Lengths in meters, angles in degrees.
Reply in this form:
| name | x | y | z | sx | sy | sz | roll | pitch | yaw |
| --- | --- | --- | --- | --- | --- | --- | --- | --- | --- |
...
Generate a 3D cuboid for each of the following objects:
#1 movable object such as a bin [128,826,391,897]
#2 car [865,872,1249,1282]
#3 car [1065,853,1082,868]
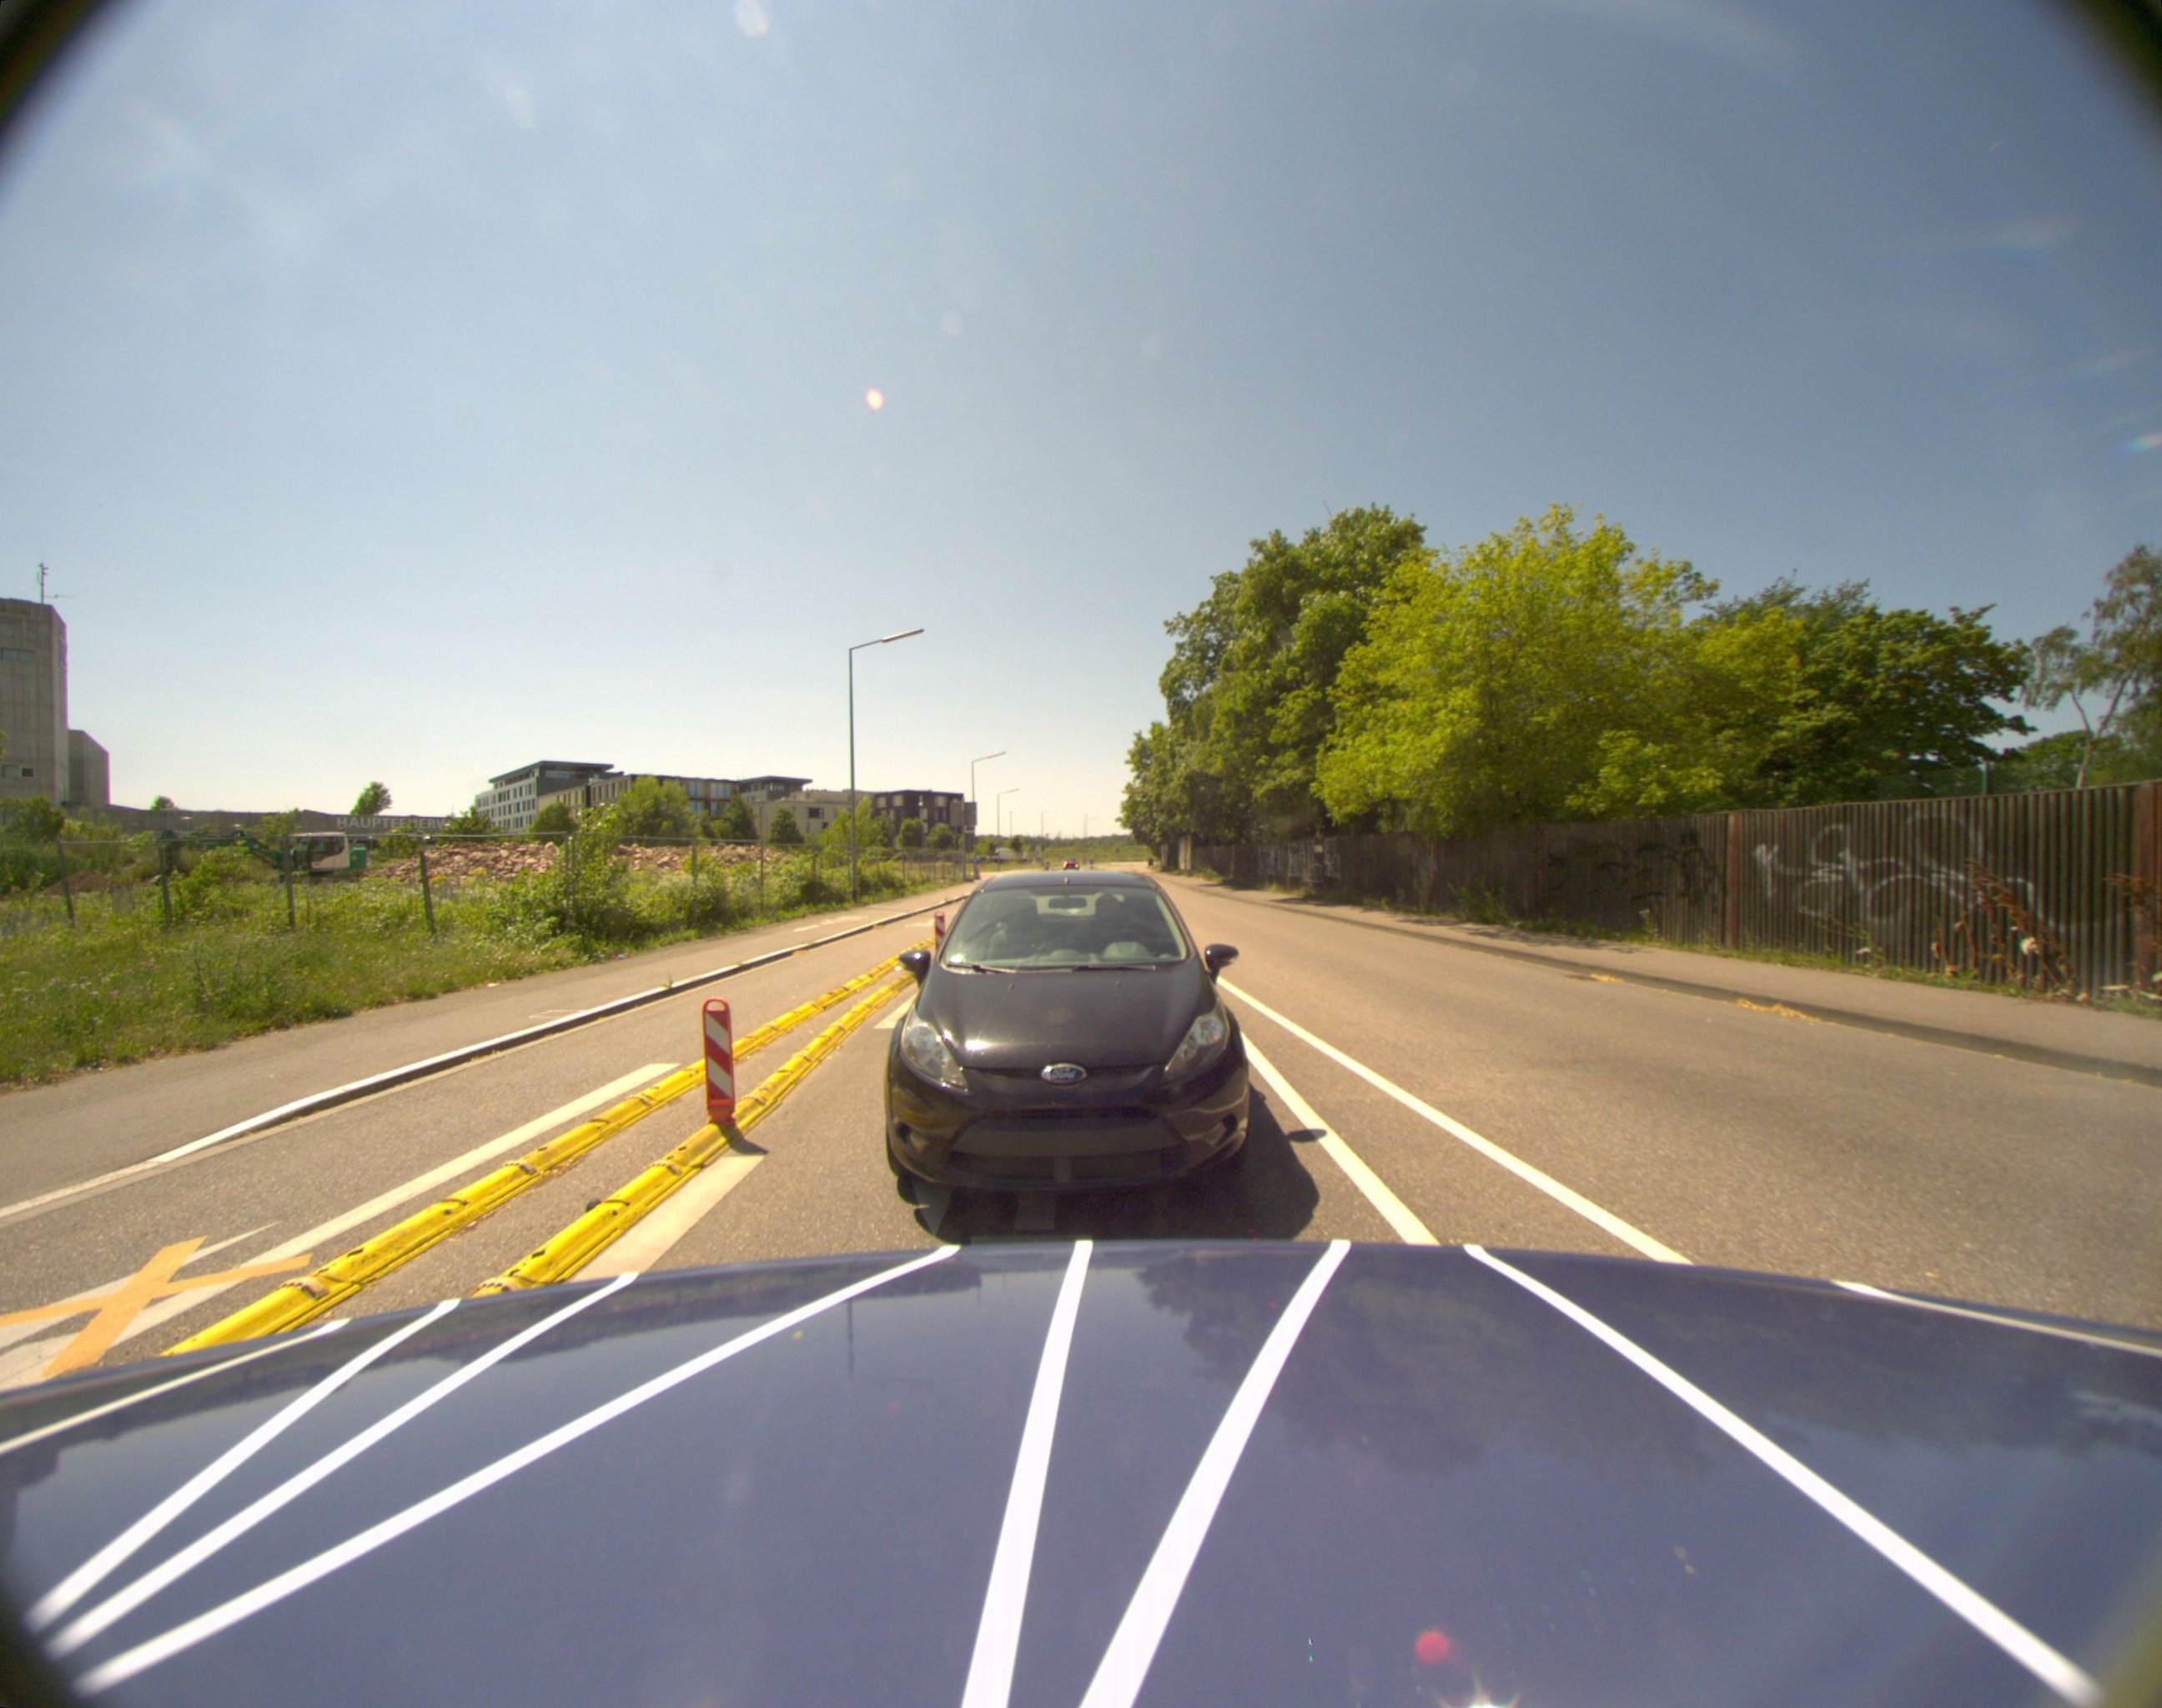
| name | x | y | z | sx | sy | sz | roll | pitch | yaw |
| --- | --- | --- | --- | --- | --- | --- | --- | --- | --- |
| movable object such as a bin | -38.338 | 0.262 | 35.974 | 3.231 | 2.899 | 7.702 | -2 | 1 | 15 |
| car | -0.070 | 0.975 | 5.137 | 1.528 | 1.510 | 3.999 | -2 | 1 | 1 |
| car | -0.895 | 0.721 | 91.364 | 1.924 | 1.643 | 4.668 | -2 | 1 | 1 |
